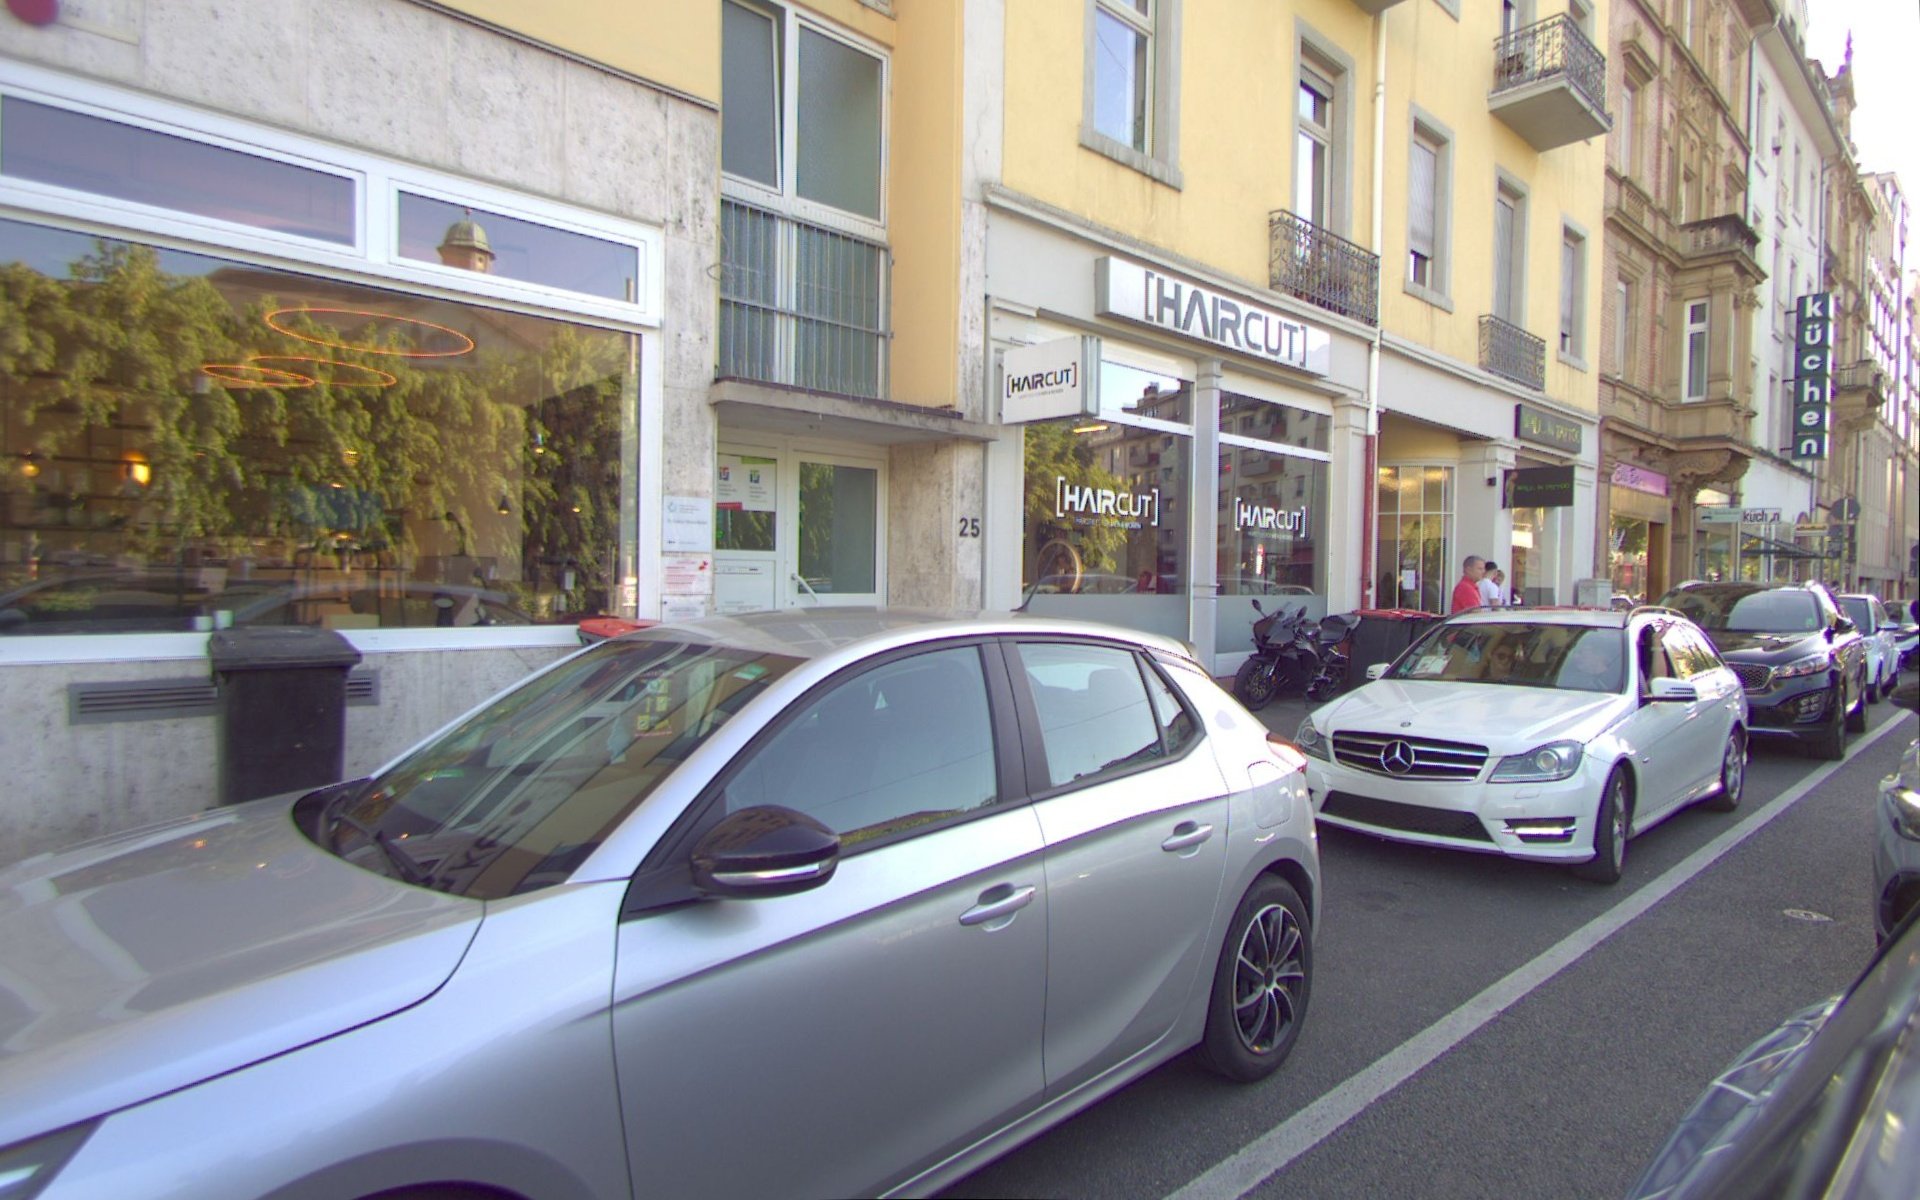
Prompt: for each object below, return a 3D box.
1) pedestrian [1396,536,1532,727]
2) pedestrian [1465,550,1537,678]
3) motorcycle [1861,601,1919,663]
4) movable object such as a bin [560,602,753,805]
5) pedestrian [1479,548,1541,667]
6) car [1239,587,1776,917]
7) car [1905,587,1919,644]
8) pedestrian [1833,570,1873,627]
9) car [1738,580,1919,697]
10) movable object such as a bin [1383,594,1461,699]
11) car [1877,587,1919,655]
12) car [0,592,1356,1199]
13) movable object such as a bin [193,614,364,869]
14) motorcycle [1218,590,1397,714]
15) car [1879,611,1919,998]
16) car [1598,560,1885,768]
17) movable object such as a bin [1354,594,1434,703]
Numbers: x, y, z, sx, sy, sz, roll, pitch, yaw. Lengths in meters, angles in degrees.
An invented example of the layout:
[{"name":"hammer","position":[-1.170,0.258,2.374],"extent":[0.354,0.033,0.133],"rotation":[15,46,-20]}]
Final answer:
[{"name":"pedestrian","position":[5.159,0.274,10.360],"extent":[0.992,1.805,0.865],"rotation":[-1,5,-45]},{"name":"pedestrian","position":[7.184,0.176,13.431],"extent":[0.689,1.637,0.641],"rotation":[0,1,-42]},{"name":"motorcycle","position":[19.751,0.648,20.926],"extent":[1.514,1.248,0.771],"rotation":[0,0,1]},{"name":"movable object such as a bin","position":[-1.807,0.556,6.020],"extent":[0.878,1.066,0.752],"rotation":[0,1,-40]},{"name":"pedestrian","position":[7.776,0.097,14.317],"extent":[0.631,1.637,0.572],"rotation":[0,1,-40]},{"name":"car","position":[3.879,0.664,6.750],"extent":[4.519,1.480,1.757],"rotation":[0,1,-42]},{"name":"car","position":[26.862,0.401,27.272],"extent":[3.931,1.504,1.713],"rotation":[0,1,-42]},{"name":"pedestrian","position":[26.030,-0.063,29.493],"extent":[0.750,1.637,0.794],"rotation":[0,1,-43]},{"name":"car","position":[13.253,0.499,15.381],"extent":[2.965,1.587,1.695],"rotation":[0,1,-40]},{"name":"movable object such as a bin","position":[5.613,0.540,12.292],"extent":[0.633,1.222,0.647],"rotation":[0,1,-40]},{"name":"car","position":[22.684,0.454,23.460],"extent":[3.931,1.504,1.713],"rotation":[0,1,-42]},{"name":"car","position":[-0.586,0.697,2.697],"extent":[3.643,1.415,1.651],"rotation":[0,1,-43]},{"name":"movable object such as a bin","position":[-3.232,0.607,4.786],"extent":[0.591,1.041,0.812],"rotation":[0,1,-40]},{"name":"motorcycle","position":[3.788,0.502,10.929],"extent":[2.208,1.179,0.773],"rotation":[0,4,-41]},{"name":"car","position":[5.602,0.755,4.515],"extent":[4.183,1.396,1.846],"rotation":[0,1,-42]},{"name":"car","position":[8.393,0.500,10.690],"extent":[1.853,1.719,4.623],"rotation":[1,1,45]},{"name":"movable object such as a bin","position":[5.103,0.548,11.903],"extent":[0.633,1.222,0.647],"rotation":[0,1,-40]}]
